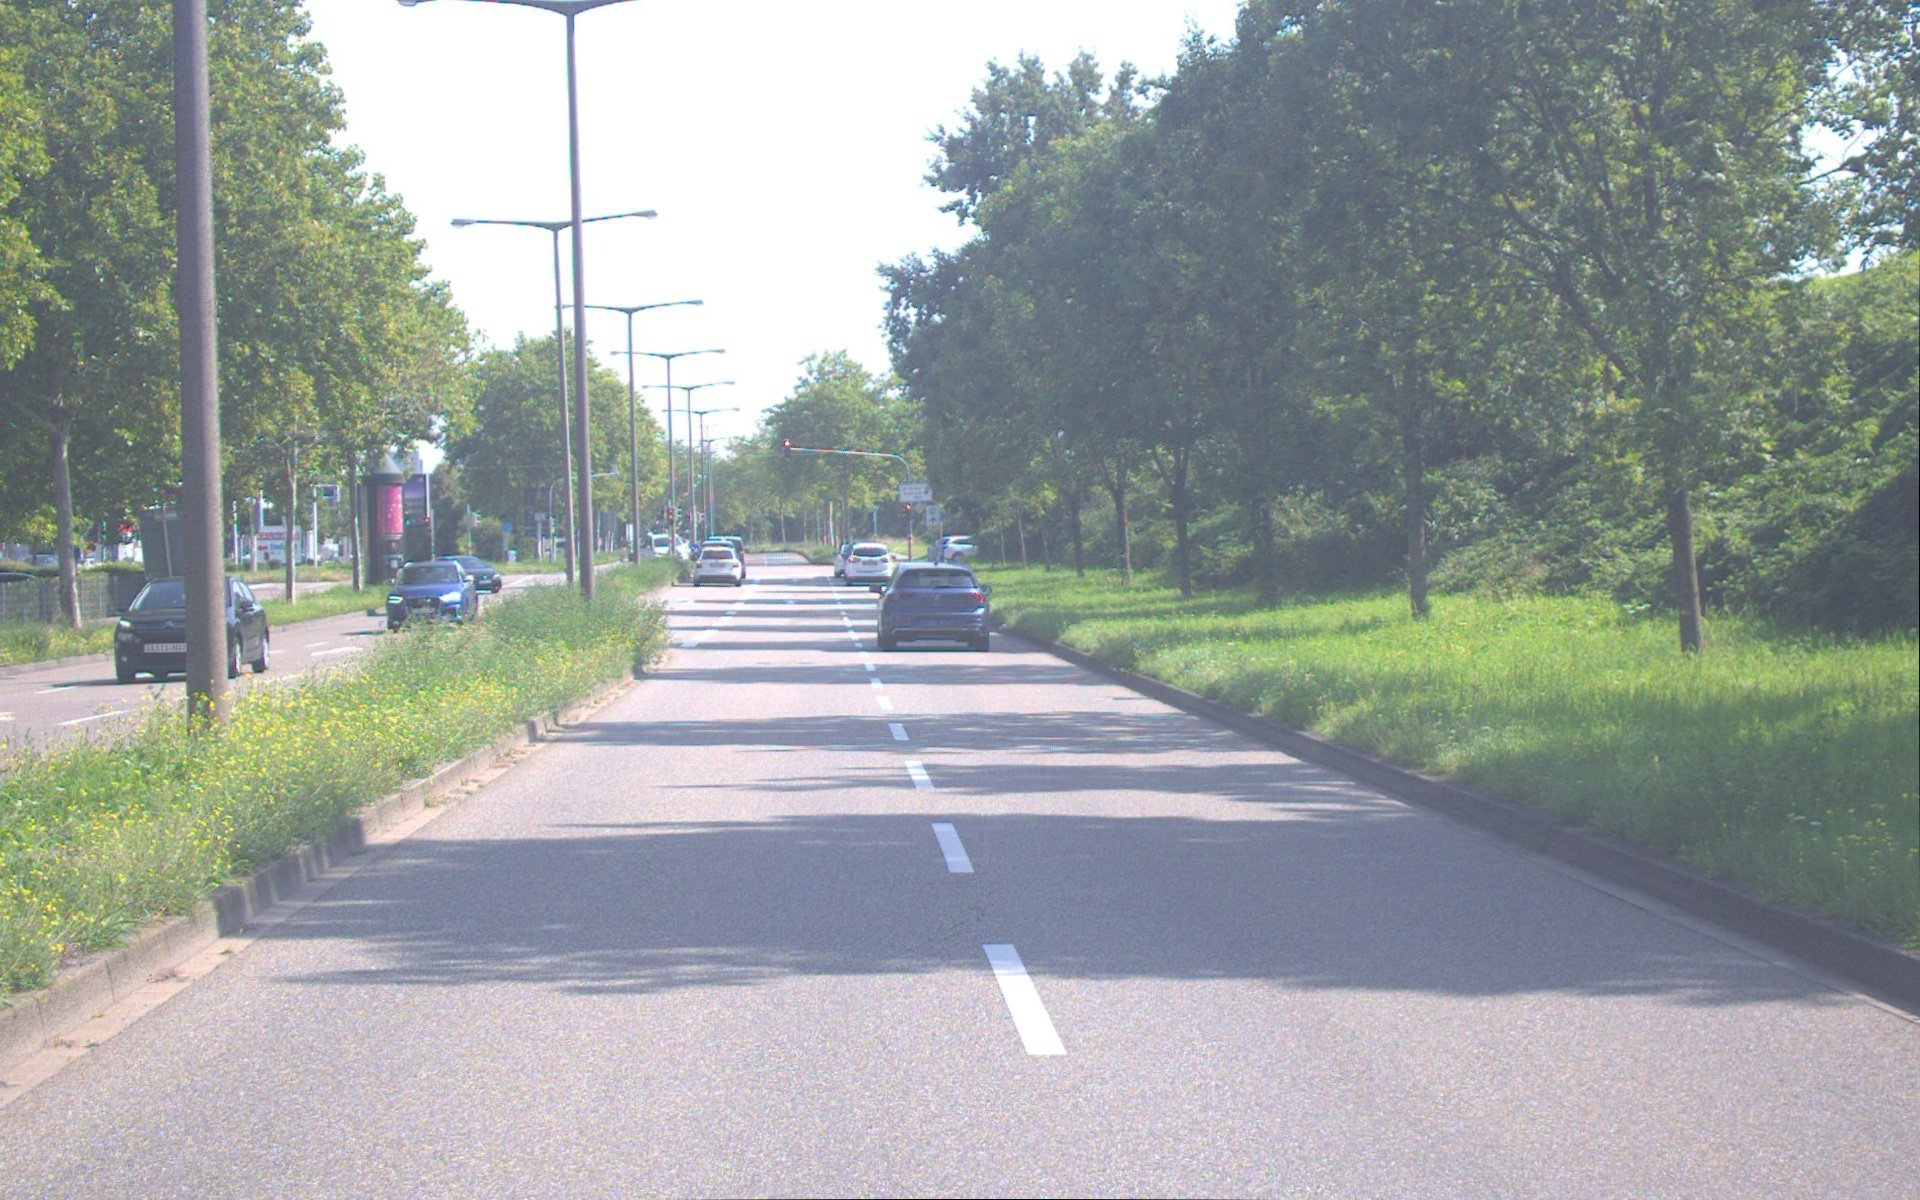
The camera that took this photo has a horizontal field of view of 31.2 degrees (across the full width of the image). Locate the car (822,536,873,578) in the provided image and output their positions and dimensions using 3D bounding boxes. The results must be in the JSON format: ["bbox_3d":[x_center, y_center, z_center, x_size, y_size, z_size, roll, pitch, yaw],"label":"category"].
[{"bbox_3d":[-4.942,-1.900,150.602,1.993,1.648,4.001,2,2,-4],"label":"car"}]

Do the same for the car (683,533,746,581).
[{"bbox_3d":[-9.160,-1.599,128.448,1.993,1.696,4.000,-2,1,0],"label":"car"}]

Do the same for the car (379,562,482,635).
[{"bbox_3d":[-12.255,-0.061,79.814,1.993,1.579,4.347,-2,1,-4],"label":"car"}]

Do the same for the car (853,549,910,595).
[{"bbox_3d":[-3.009,-1.081,131.154,1.993,1.648,4.001,-2,1,-3],"label":"car"}]

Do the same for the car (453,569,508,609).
[{"bbox_3d":[-18.235,-0.438,130.793,1.794,1.412,4.411,-3,1,-5],"label":"car"}]

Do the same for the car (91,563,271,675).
[{"bbox_3d":[-11.142,0.235,49.397,1.705,1.484,4.313,-1,1,-2],"label":"car"}]

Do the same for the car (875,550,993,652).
[{"bbox_3d":[-0.458,-0.013,56.507,1.780,1.423,4.001,0,3,-3],"label":"car"}]
